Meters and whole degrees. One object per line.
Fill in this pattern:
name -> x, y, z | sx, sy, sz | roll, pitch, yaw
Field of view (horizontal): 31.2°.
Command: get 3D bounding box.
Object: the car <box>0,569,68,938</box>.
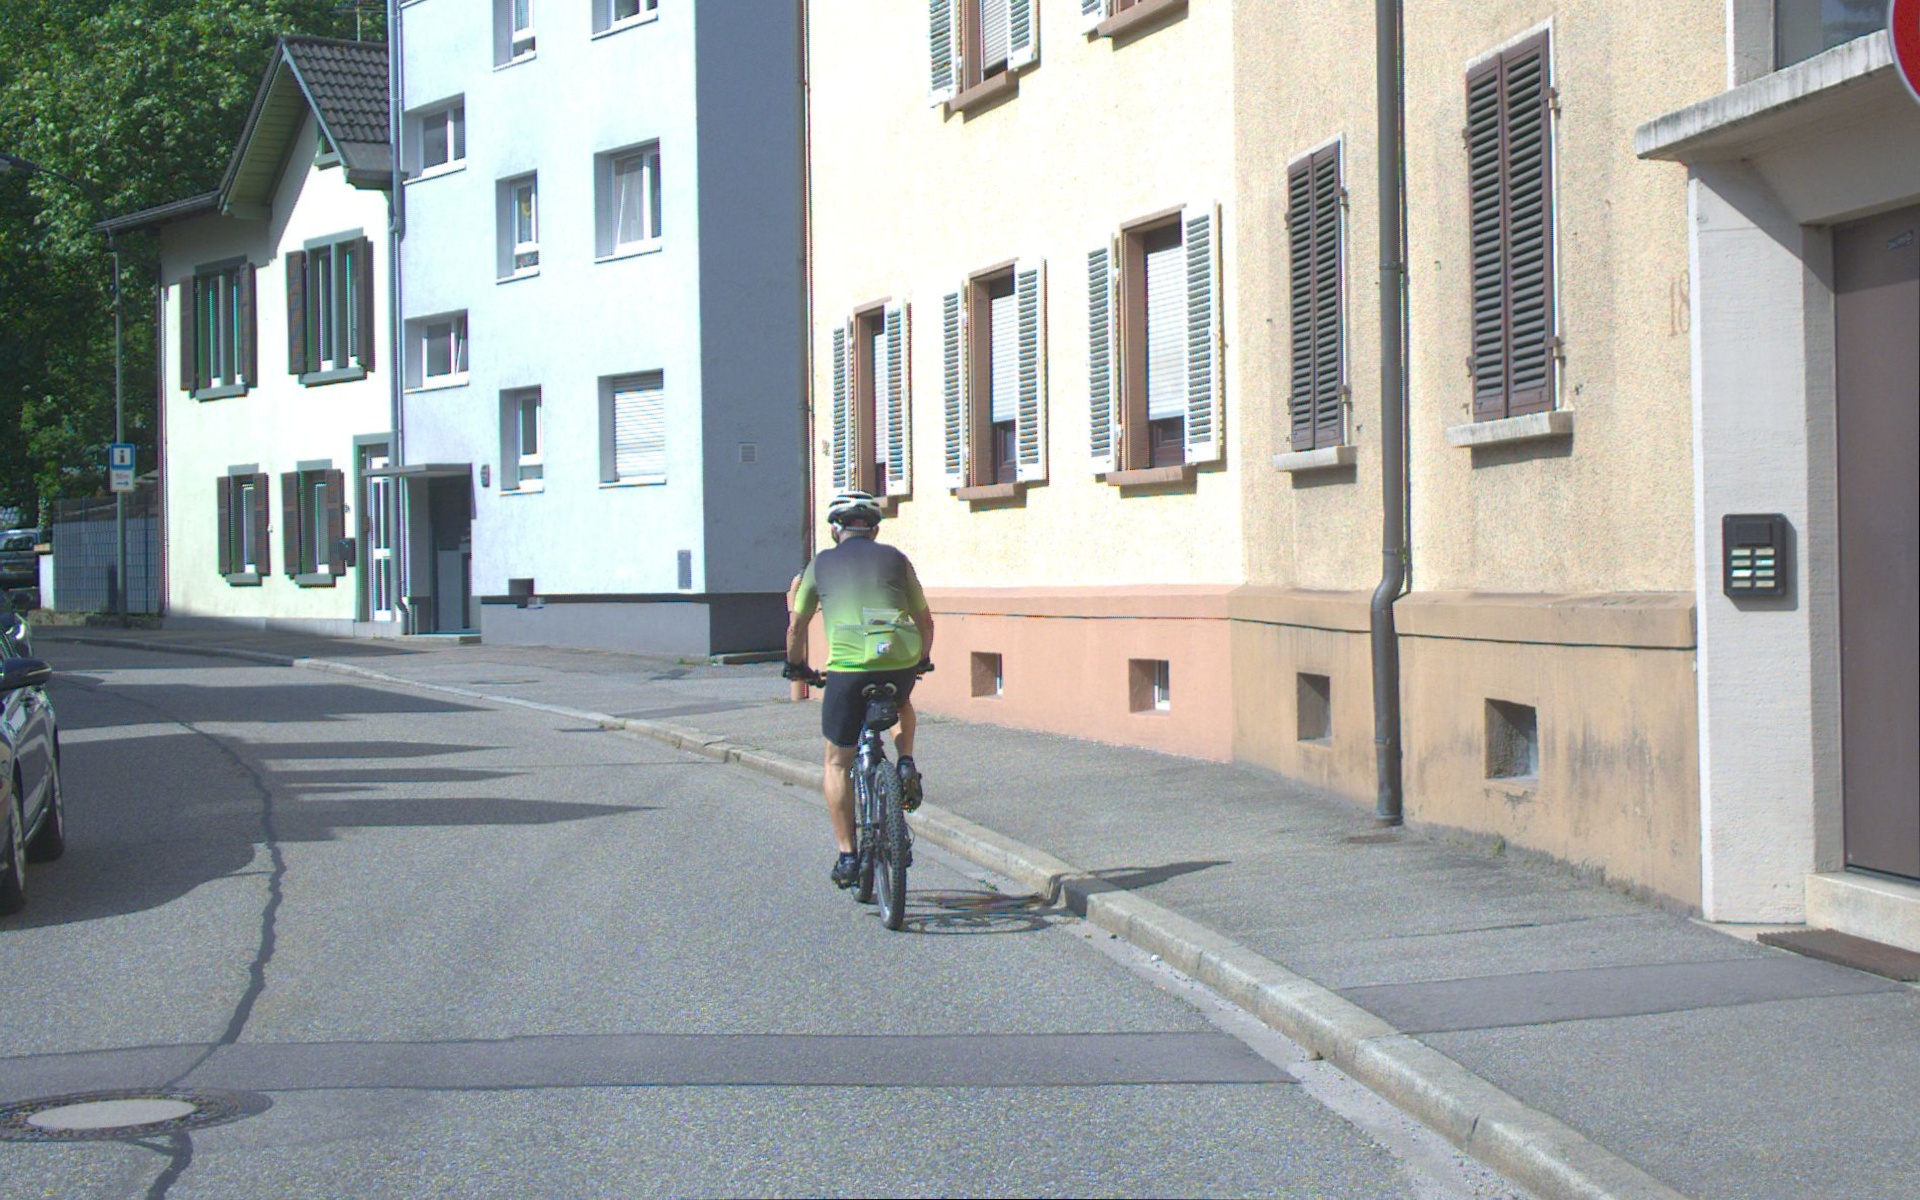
car -> -5.137, 0.661, 15.762 | 1.747, 1.448, 4.029 | -4, 2, -12

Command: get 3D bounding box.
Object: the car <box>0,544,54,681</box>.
car -> -11.310, 0.150, 38.914 | 1.658, 1.444, 4.260 | -4, 2, -19

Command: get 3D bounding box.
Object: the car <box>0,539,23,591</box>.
car -> -24.343, -0.850, 84.669 | 1.582, 1.253, 3.858 | -2, 2, -28

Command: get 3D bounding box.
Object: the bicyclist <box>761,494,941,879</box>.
bicyclist -> -0.453, 0.344, 14.141 | 0.685, 1.526, 0.716 | -1, 1, -2

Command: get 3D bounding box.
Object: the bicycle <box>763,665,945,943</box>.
bicycle -> -0.447, 0.811, 14.150 | 0.698, 1.032, 1.471 | 1, 1, -2
